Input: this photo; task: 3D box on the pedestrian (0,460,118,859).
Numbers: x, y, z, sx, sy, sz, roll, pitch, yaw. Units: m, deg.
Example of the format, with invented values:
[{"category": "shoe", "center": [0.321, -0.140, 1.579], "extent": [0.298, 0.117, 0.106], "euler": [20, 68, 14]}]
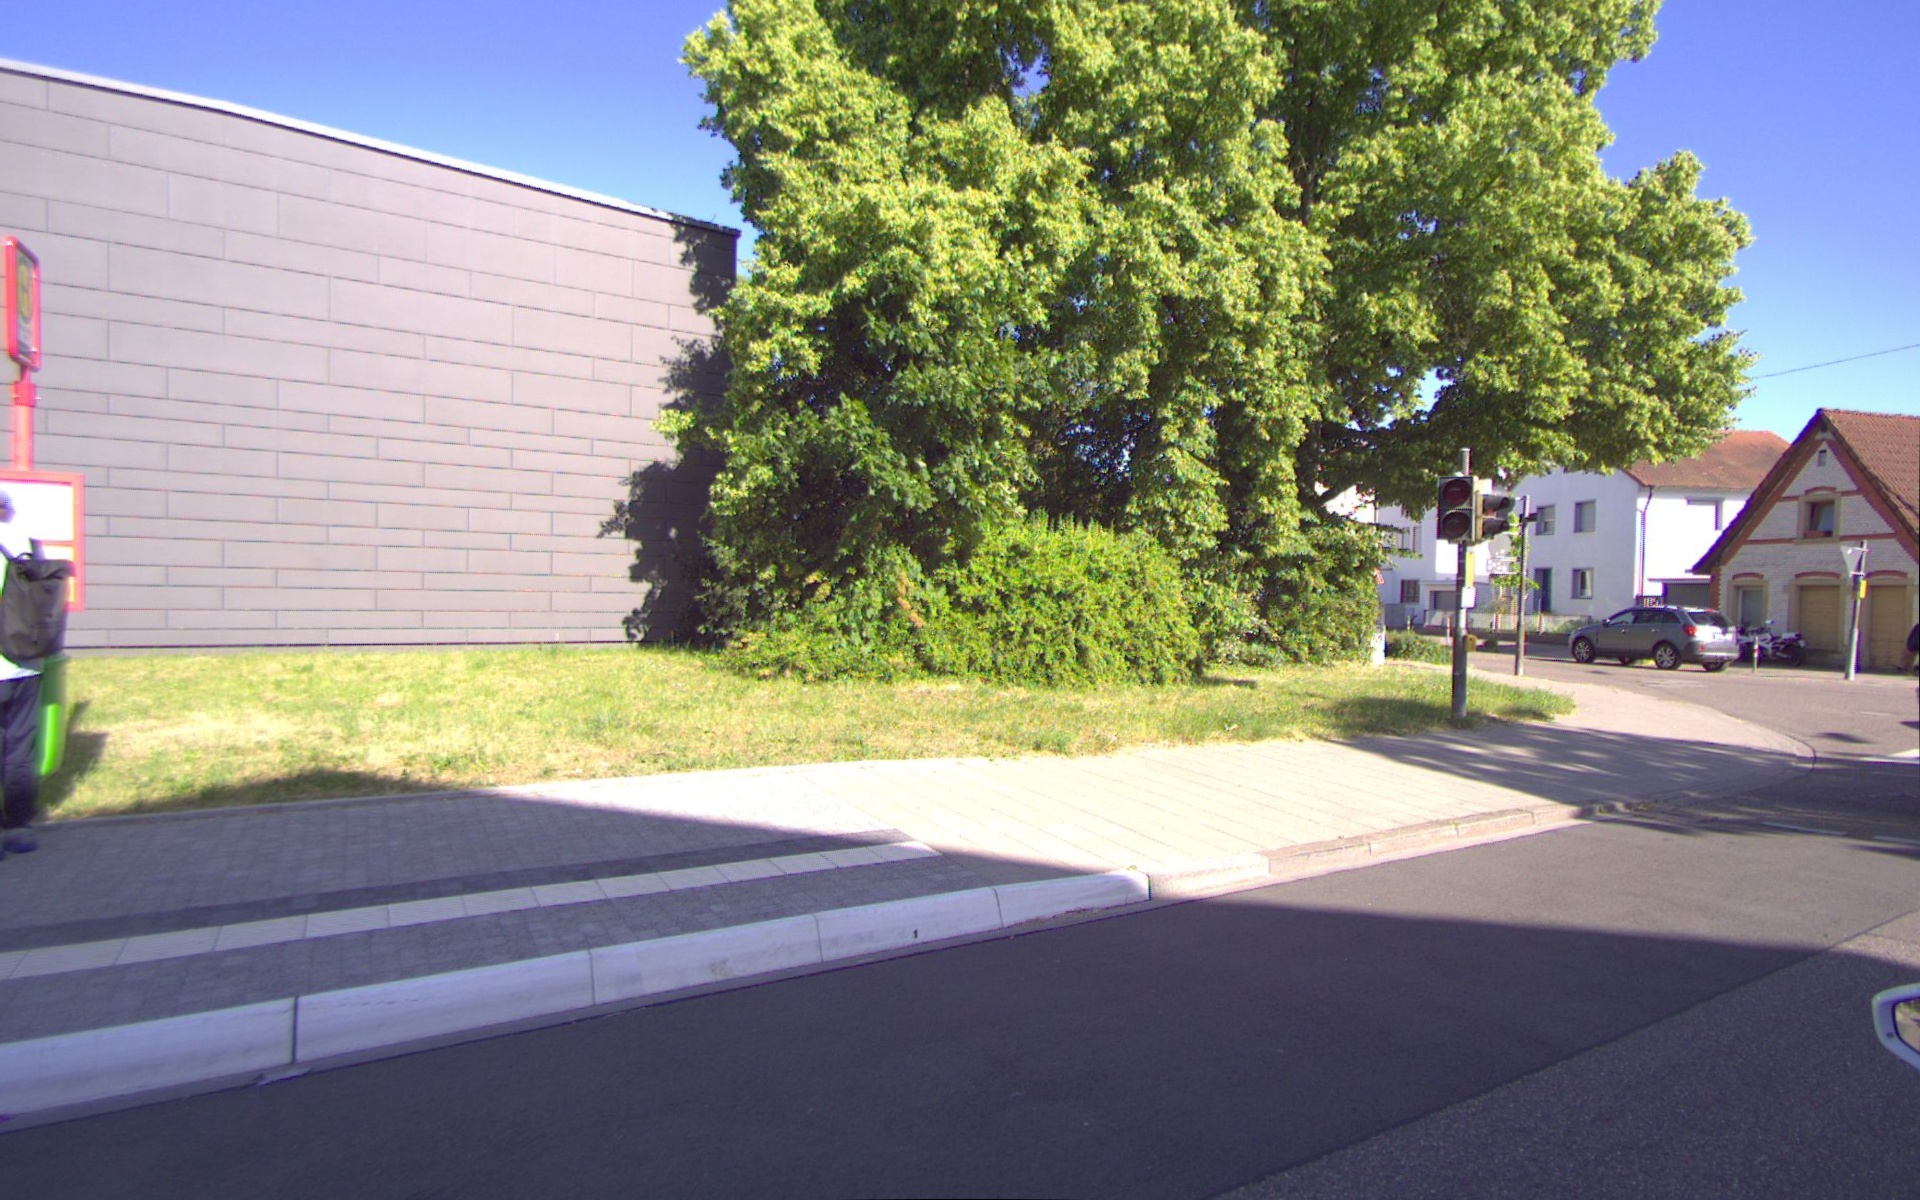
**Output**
[{"category": "pedestrian", "center": [-4.680, 0.257, 4.831], "extent": [0.757, 1.827, 0.717], "euler": [3, 3, 27]}]

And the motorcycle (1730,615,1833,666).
[{"category": "motorcycle", "center": [23.340, 1.121, 28.594], "extent": [0.867, 1.313, 2.245], "euler": [-2, 1, -11]}]

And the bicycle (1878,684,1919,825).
[{"category": "bicycle", "center": [8.043, 1.193, 7.980], "extent": [2.271, 0.952, 0.769], "euler": [1, -1, -39]}]

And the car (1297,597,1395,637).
[{"category": "car", "center": [16.559, 0.697, 43.330], "extent": [1.912, 1.570, 4.223], "euler": [1, 1, -13]}]

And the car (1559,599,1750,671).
[{"category": "car", "center": [19.399, 0.929, 28.307], "extent": [1.912, 1.748, 4.223], "euler": [2, 1, -13]}]

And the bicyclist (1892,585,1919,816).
[{"category": "bicyclist", "center": [7.989, 0.794, 7.945], "extent": [0.845, 1.813, 0.758], "euler": [0, 1, -38]}]
